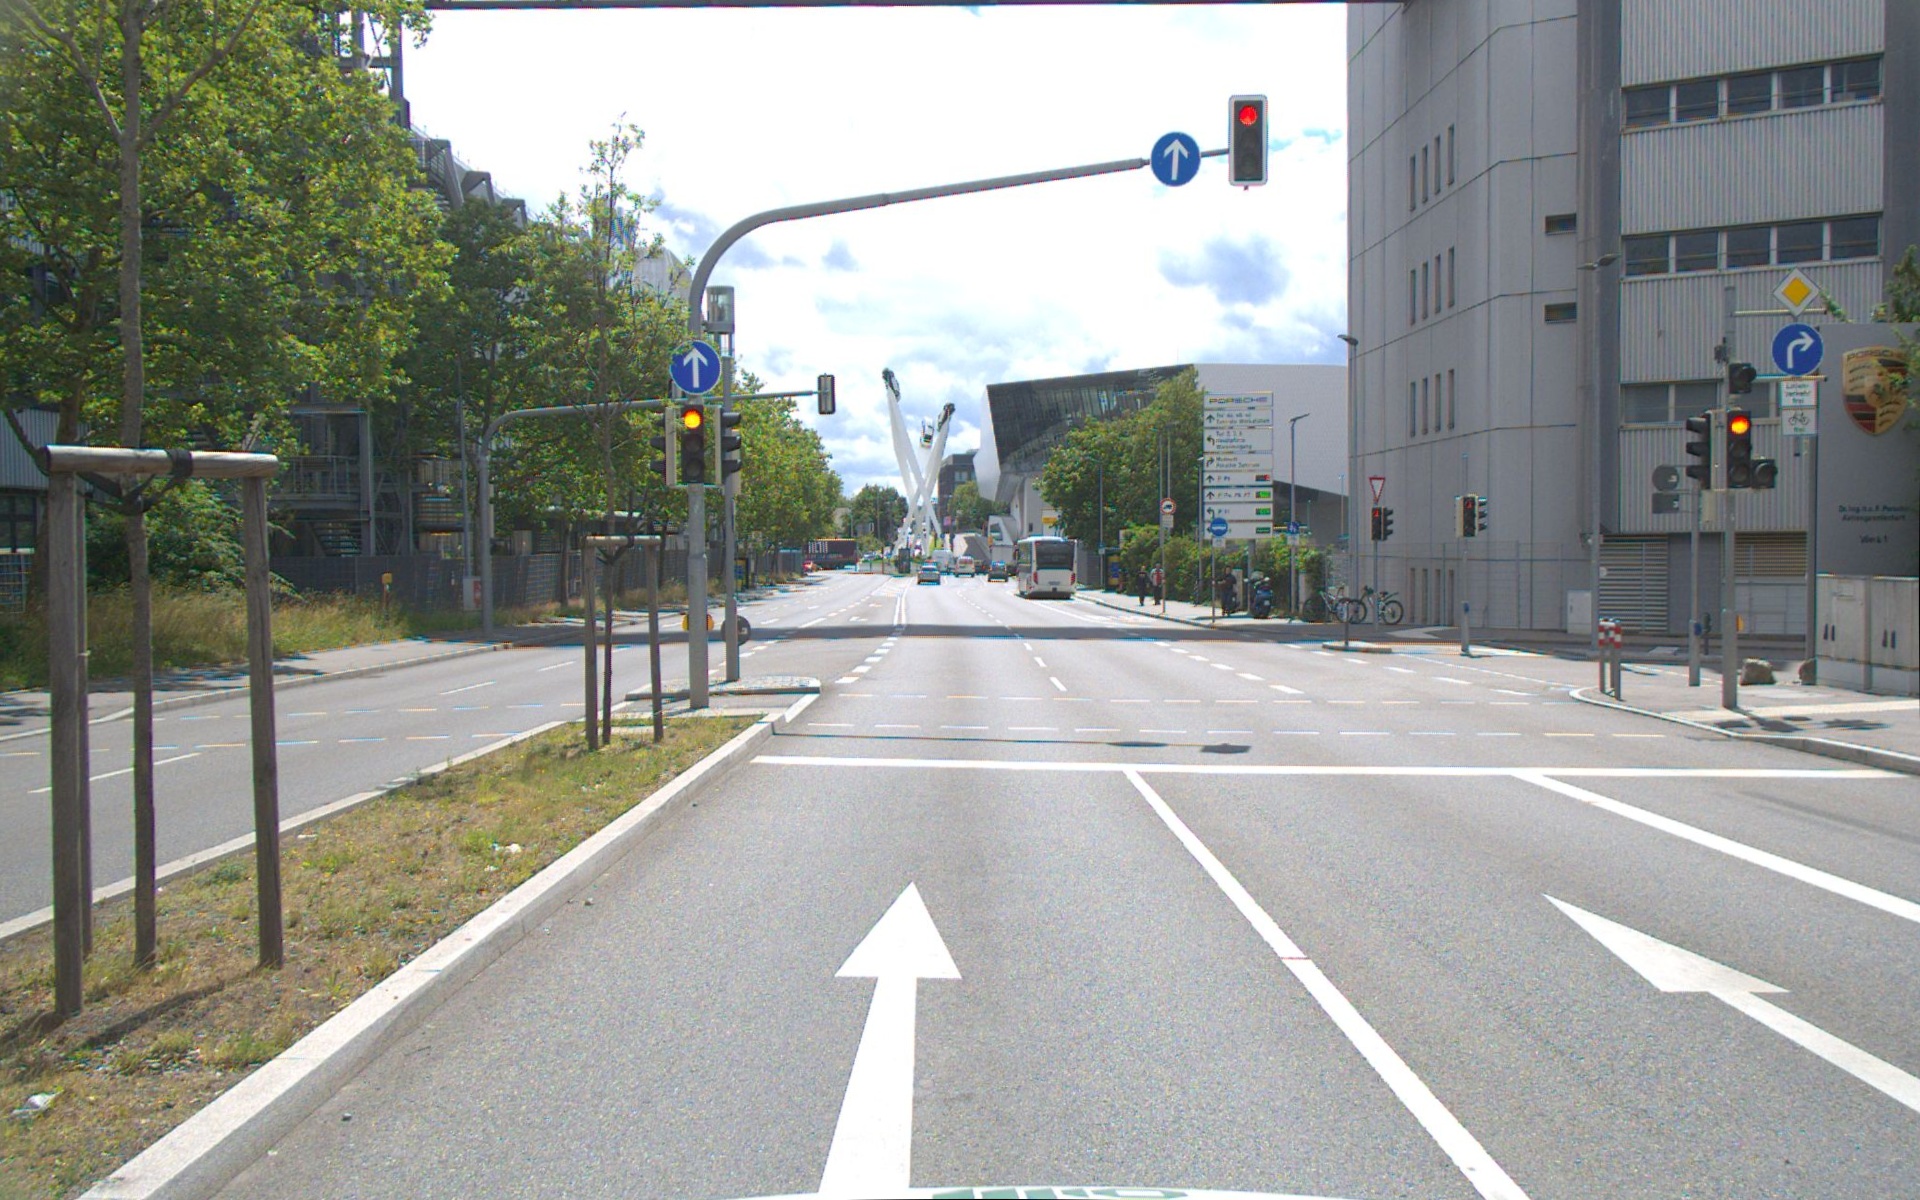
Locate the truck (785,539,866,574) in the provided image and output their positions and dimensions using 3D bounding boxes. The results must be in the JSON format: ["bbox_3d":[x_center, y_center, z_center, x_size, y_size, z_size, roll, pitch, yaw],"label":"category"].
[{"bbox_3d":[-18.928,-6.066,234.165,3.515,4.399,12.081,1,-1,44],"label":"truck"}]

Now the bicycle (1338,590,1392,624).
[{"bbox_3d":[11.772,0.186,48.085,0.392,0.953,1.912,0,1,-26],"label":"bicycle"}]

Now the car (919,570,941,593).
[{"bbox_3d":[-2.321,-1.472,128.721,1.703,1.772,3.691,0,1,-1],"label":"car"}]

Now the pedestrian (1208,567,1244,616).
[{"bbox_3d":[9.074,-0.305,56.456,0.834,1.653,0.951,1,1,40],"label":"pedestrian"}]

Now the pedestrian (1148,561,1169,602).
[{"bbox_3d":[8.703,-0.810,72.494,0.803,1.772,0.637,0,0,-1],"label":"pedestrian"}]

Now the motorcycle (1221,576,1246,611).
[{"bbox_3d":[10.272,-0.249,62.112,0.562,1.224,2.024,-2,2,0],"label":"motorcycle"}]

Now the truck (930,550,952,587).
[{"bbox_3d":[-2.085,-3.379,180.615,2.343,3.965,6.177,0,1,0],"label":"truck"}]

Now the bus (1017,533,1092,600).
[{"bbox_3d":[5.265,-1.868,94.242,3.383,3.605,10.603,0,1,-2],"label":"bus"}]

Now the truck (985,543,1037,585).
[{"bbox_3d":[5.647,-3.898,180.690,3.380,4.468,9.426,1,1,17],"label":"truck"}]

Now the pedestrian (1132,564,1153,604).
[{"bbox_3d":[7.983,-0.707,72.505,0.803,1.737,0.881,0,0,-1],"label":"pedestrian"}]

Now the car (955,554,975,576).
[{"bbox_3d":[0.506,-3.520,167.735,1.953,2.049,3.999,1,-1,-1],"label":"car"}]

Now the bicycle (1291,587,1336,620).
[{"bbox_3d":[10.752,0.097,50.363,0.391,0.953,1.918,0,1,-19],"label":"bicycle"}]

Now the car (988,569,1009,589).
[{"bbox_3d":[3.387,-1.843,146.070,1.703,1.772,3.691,0,1,-1],"label":"car"}]

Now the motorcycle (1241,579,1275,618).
[{"bbox_3d":[9.777,-0.063,54.276,0.692,1.224,2.024,-2,2,0],"label":"motorcycle"}]
